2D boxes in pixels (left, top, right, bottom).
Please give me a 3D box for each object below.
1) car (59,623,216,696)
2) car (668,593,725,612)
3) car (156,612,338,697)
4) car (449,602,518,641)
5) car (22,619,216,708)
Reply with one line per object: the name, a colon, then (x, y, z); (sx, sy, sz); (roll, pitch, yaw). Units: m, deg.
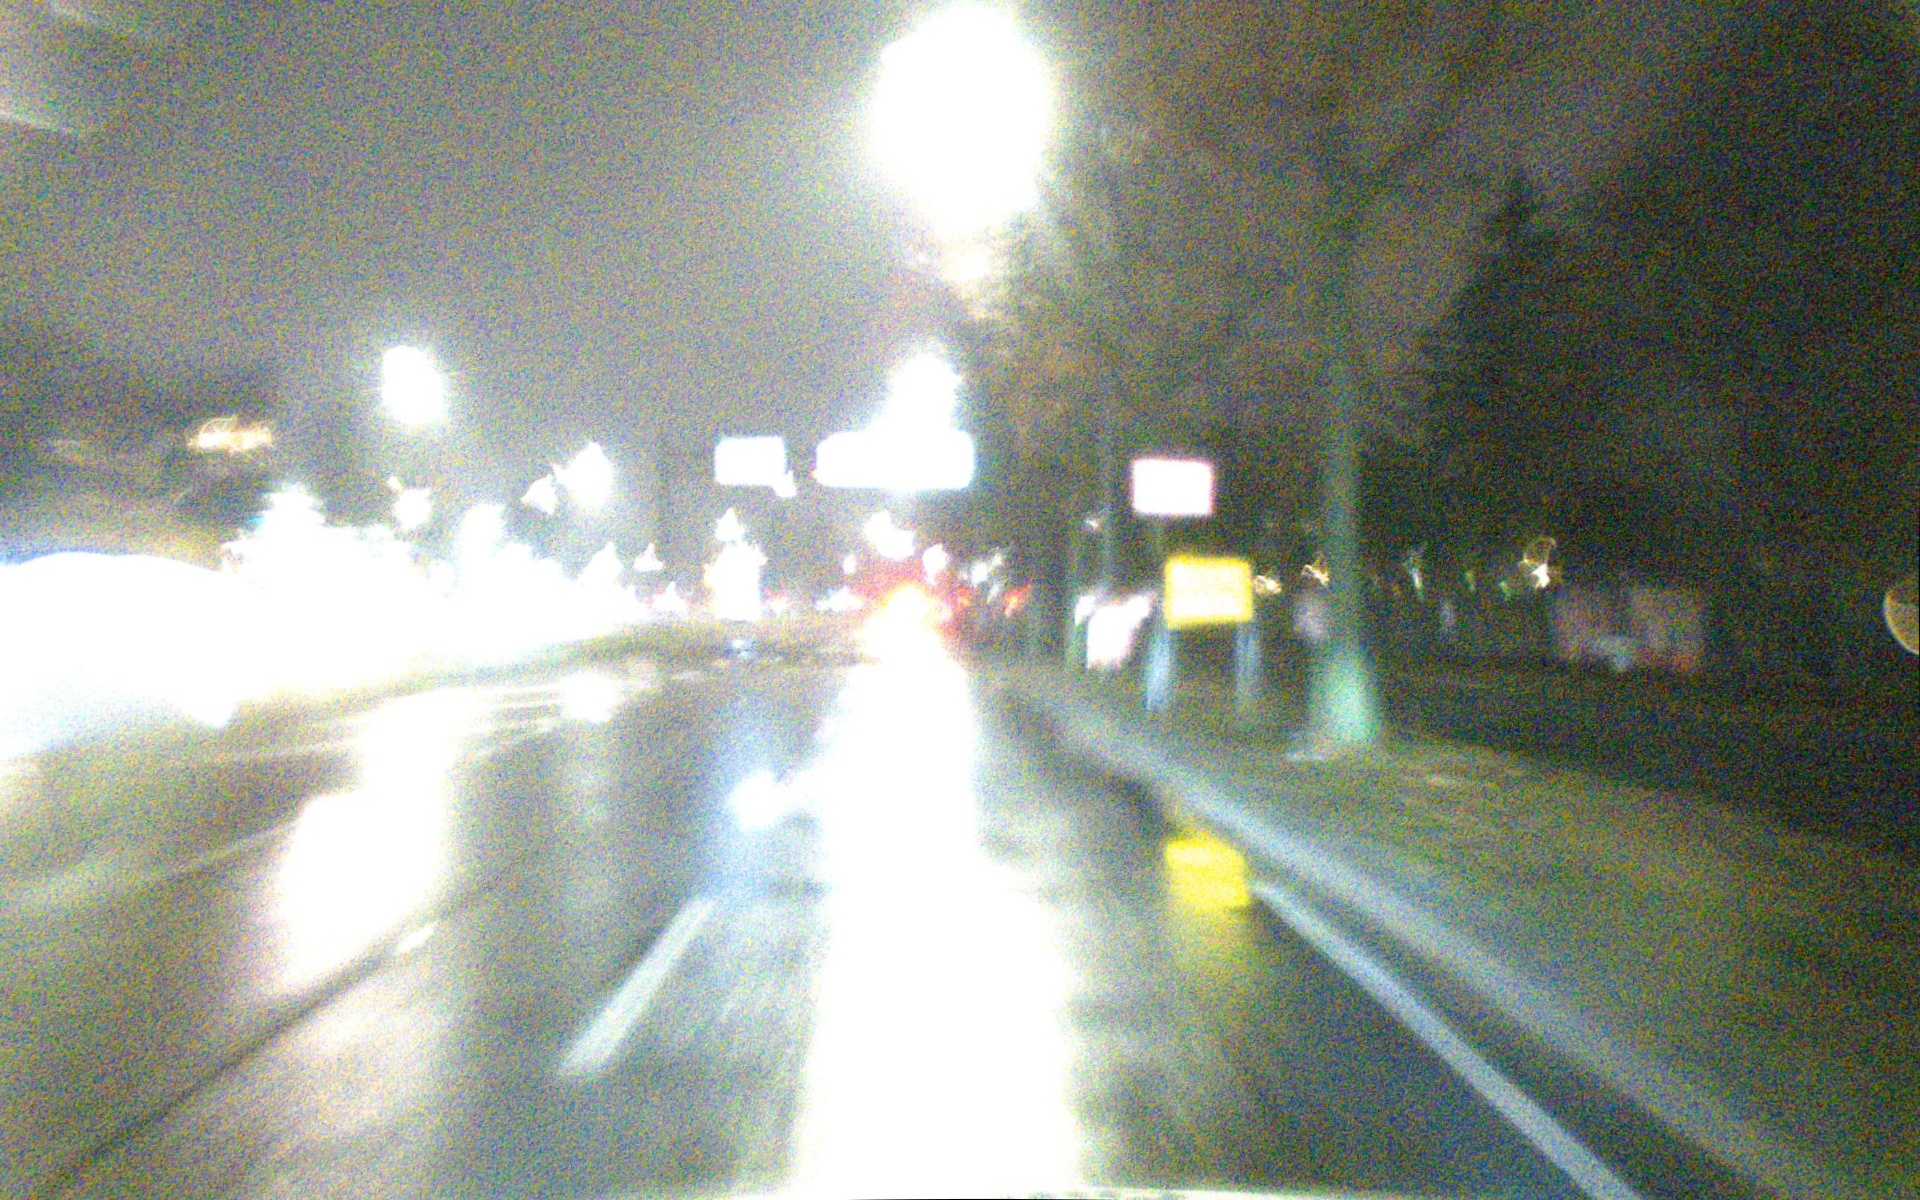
car: (-20.604, 1.457, 41.656); (1.806, 1.620, 4.364); (1, 0, -1)
car: (-31.024, 0.264, 194.789); (6.219, 2.125, 2.493); (1, 0, -27)
car: (-14.226, 1.041, 33.293); (1.806, 1.512, 4.364); (1, 0, -1)
car: (-21.878, 0.960, 76.120); (1.984, 1.713, 4.545); (1, 0, -3)
car: (-17.273, 1.251, 34.209); (1.806, 1.620, 4.364); (1, 0, -1)
